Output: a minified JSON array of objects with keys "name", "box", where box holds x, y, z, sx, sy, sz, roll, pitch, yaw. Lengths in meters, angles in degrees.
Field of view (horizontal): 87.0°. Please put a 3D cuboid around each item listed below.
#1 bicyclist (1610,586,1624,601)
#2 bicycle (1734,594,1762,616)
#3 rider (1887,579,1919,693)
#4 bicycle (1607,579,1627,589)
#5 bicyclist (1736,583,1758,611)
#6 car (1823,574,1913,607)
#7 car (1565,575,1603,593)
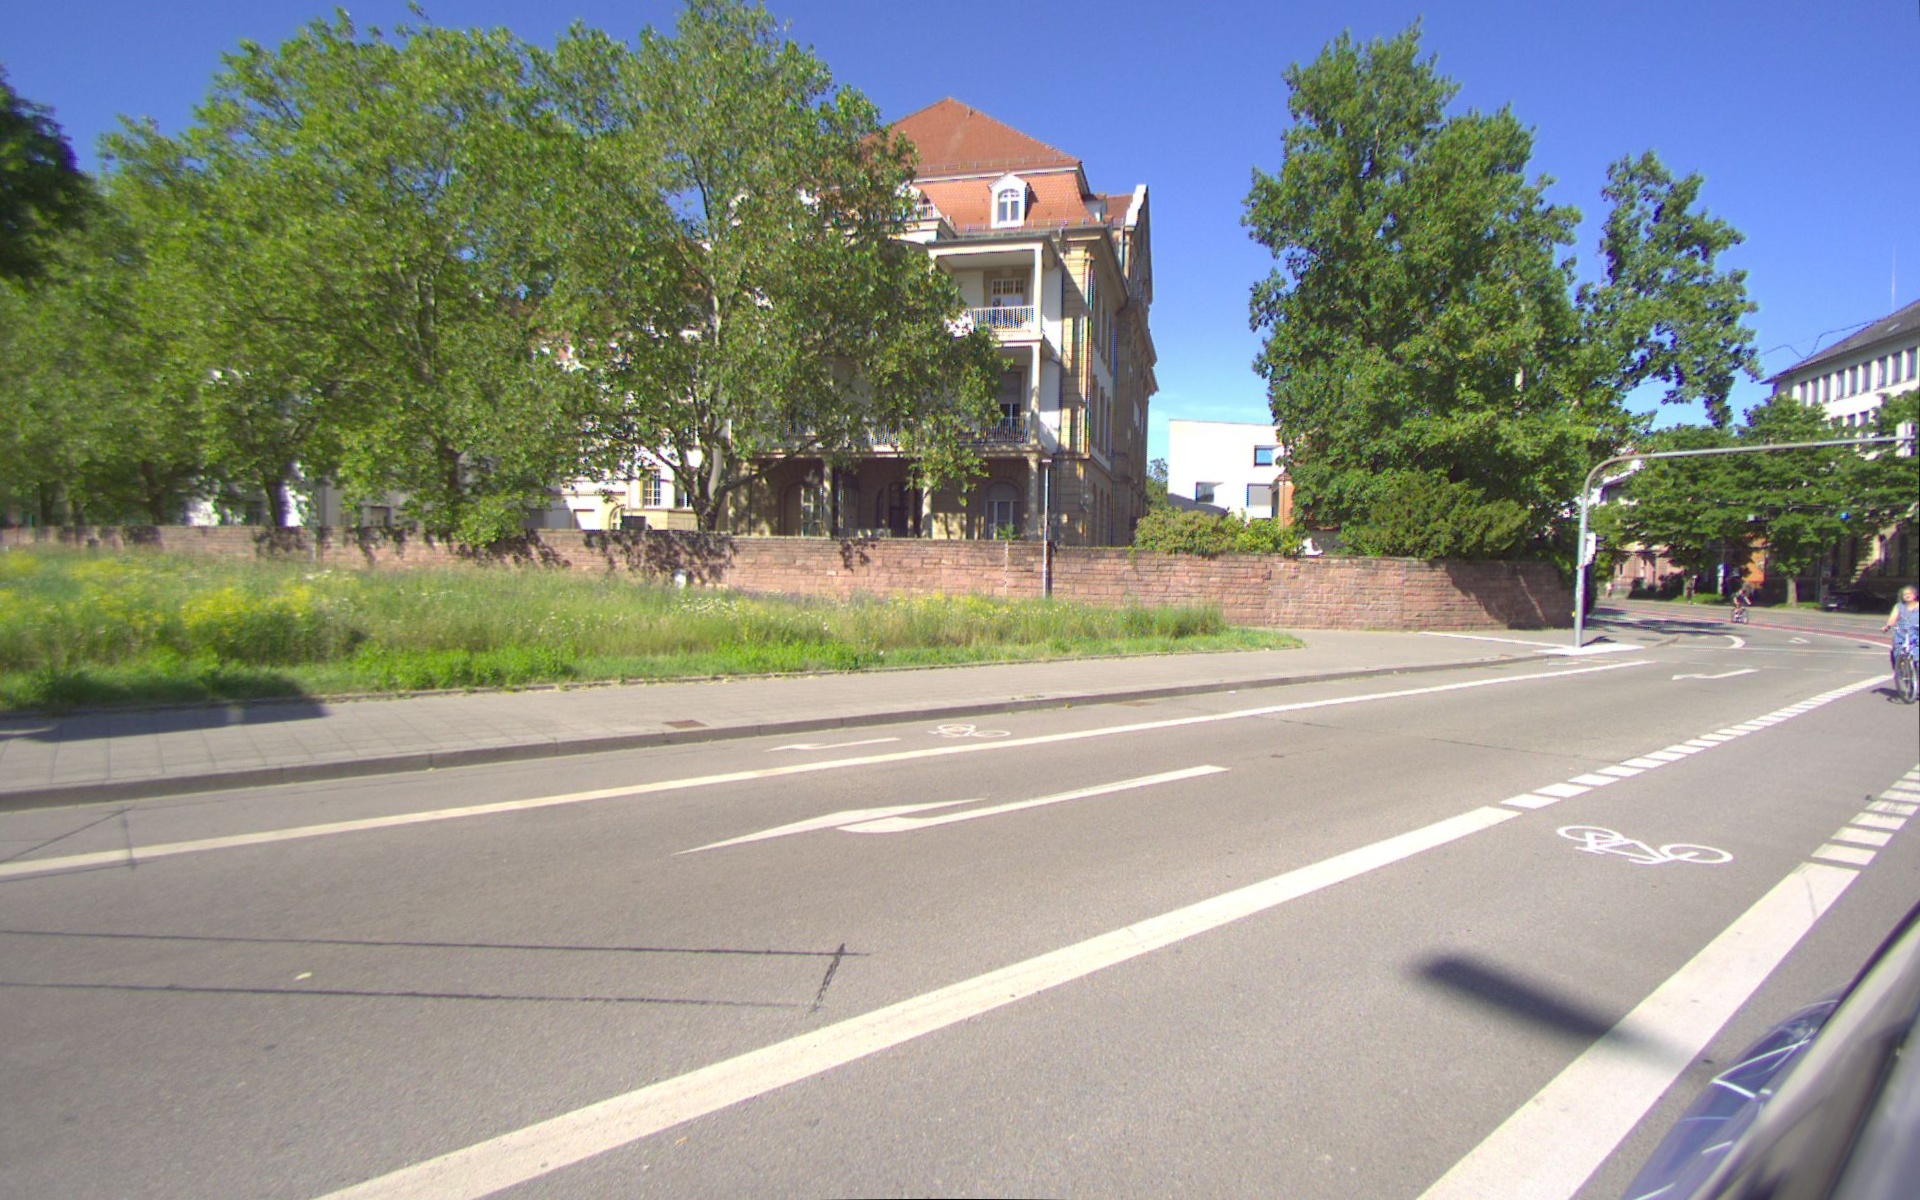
[{"name":"bicyclist","box":[63.115,-0.614,97.211,0.720,1.402,0.895,1,2,3]},{"name":"bicycle","box":[38.012,0.248,48.811,1.723,1.018,0.711,0,1,-41]},{"name":"rider","box":[14.171,0.518,14.890,0.971,1.640,0.658,0,1,-41]},{"name":"bicycle","box":[63.150,-1.544,97.276,0.720,1.003,1.834,1,2,3]},{"name":"bicyclist","box":[37.817,-0.160,48.628,0.764,1.333,0.711,0,1,-41]},{"name":"car","box":[61.204,-0.650,68.247,4.615,2.038,2.004,1,2,-9]},{"name":"car","box":[59.593,-1.532,96.713,1.770,1.517,4.554,3,3,16]}]
